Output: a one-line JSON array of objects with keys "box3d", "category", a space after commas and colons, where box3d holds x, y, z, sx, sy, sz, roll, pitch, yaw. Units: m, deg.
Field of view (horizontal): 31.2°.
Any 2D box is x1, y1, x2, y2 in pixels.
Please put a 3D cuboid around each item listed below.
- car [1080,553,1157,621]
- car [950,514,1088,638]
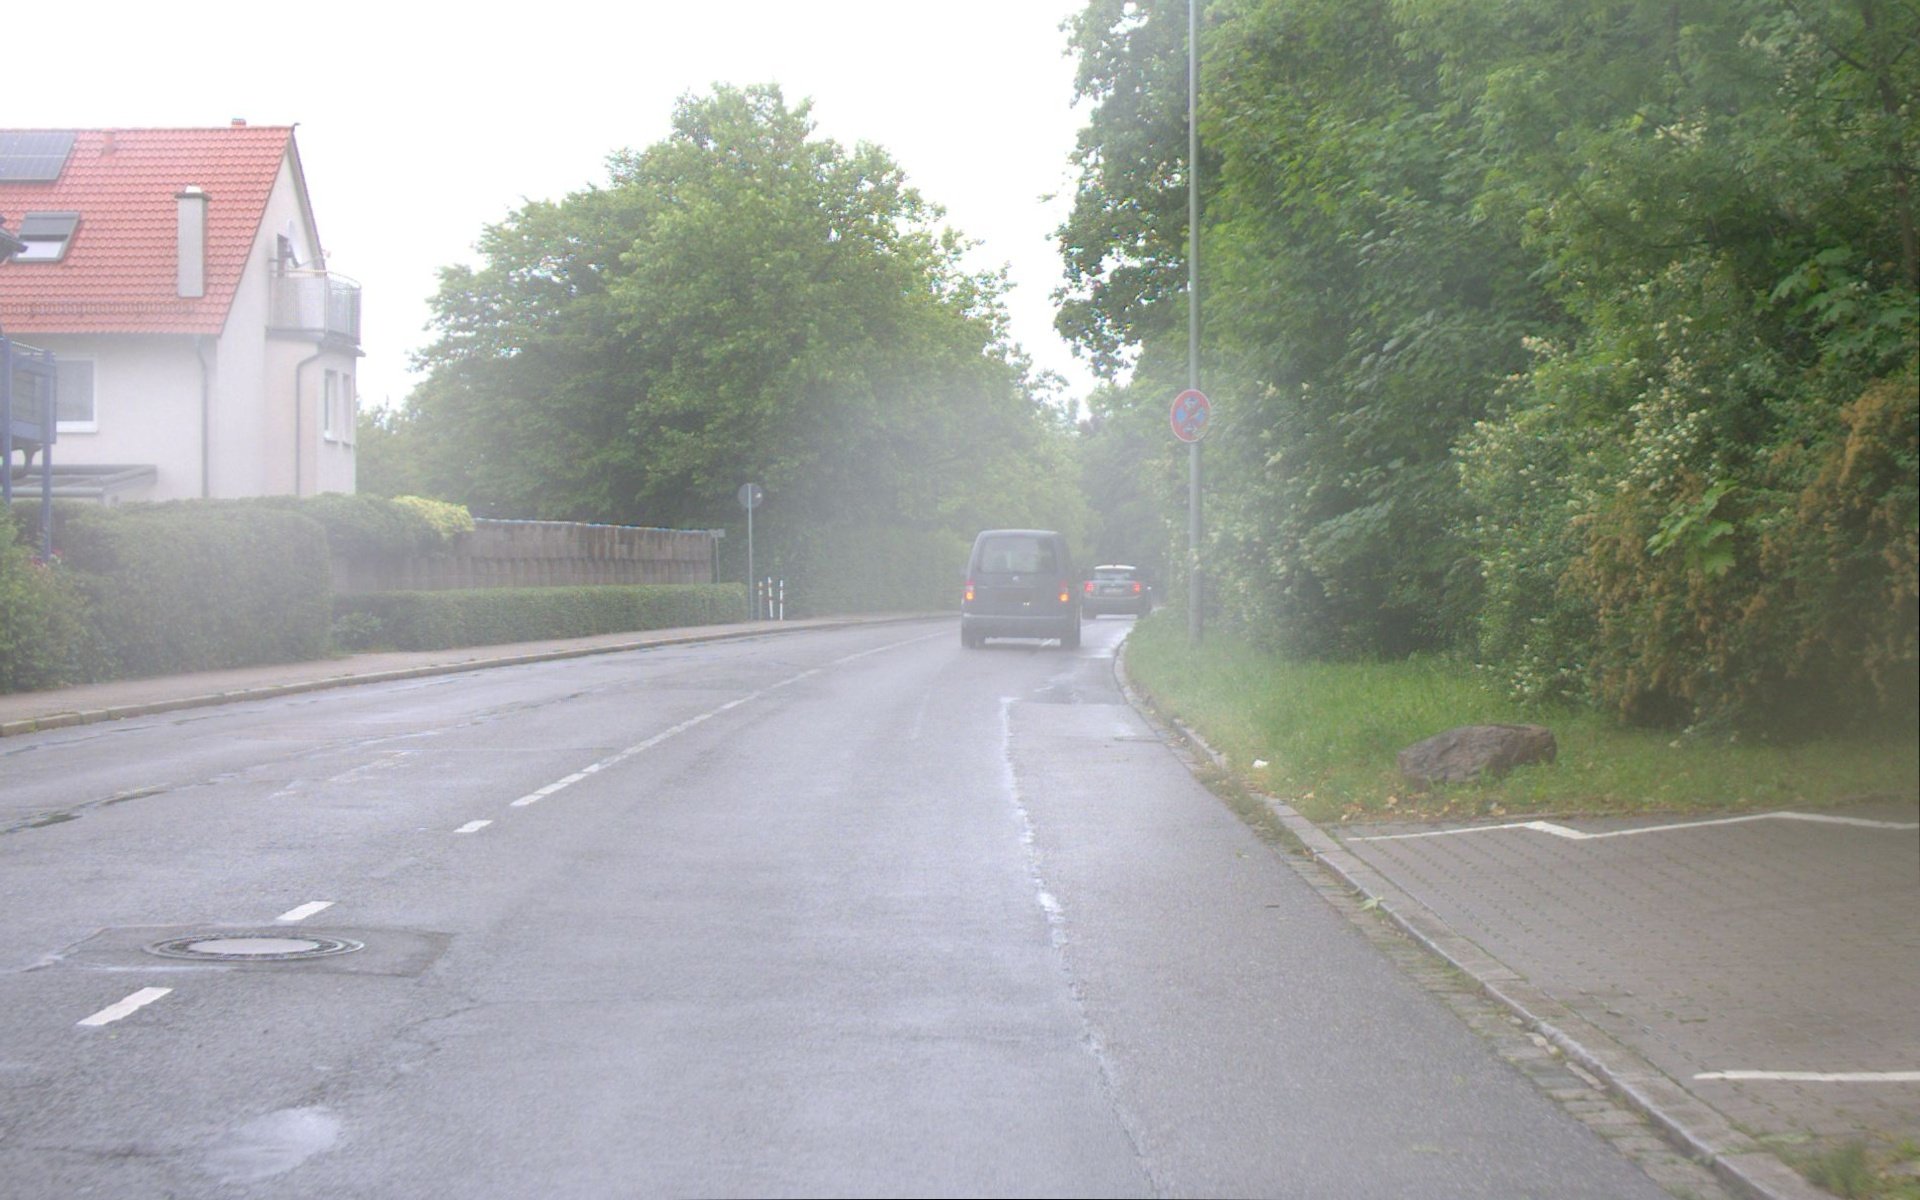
[{"box3d": [4.291, -0.374, 92.720, 1.950, 1.744, 4.000, 0, 1, 5], "category": "car"}, {"box3d": [0.964, -0.409, 53.905, 1.994, 1.787, 4.000, 2, 1, 2], "category": "car"}]
